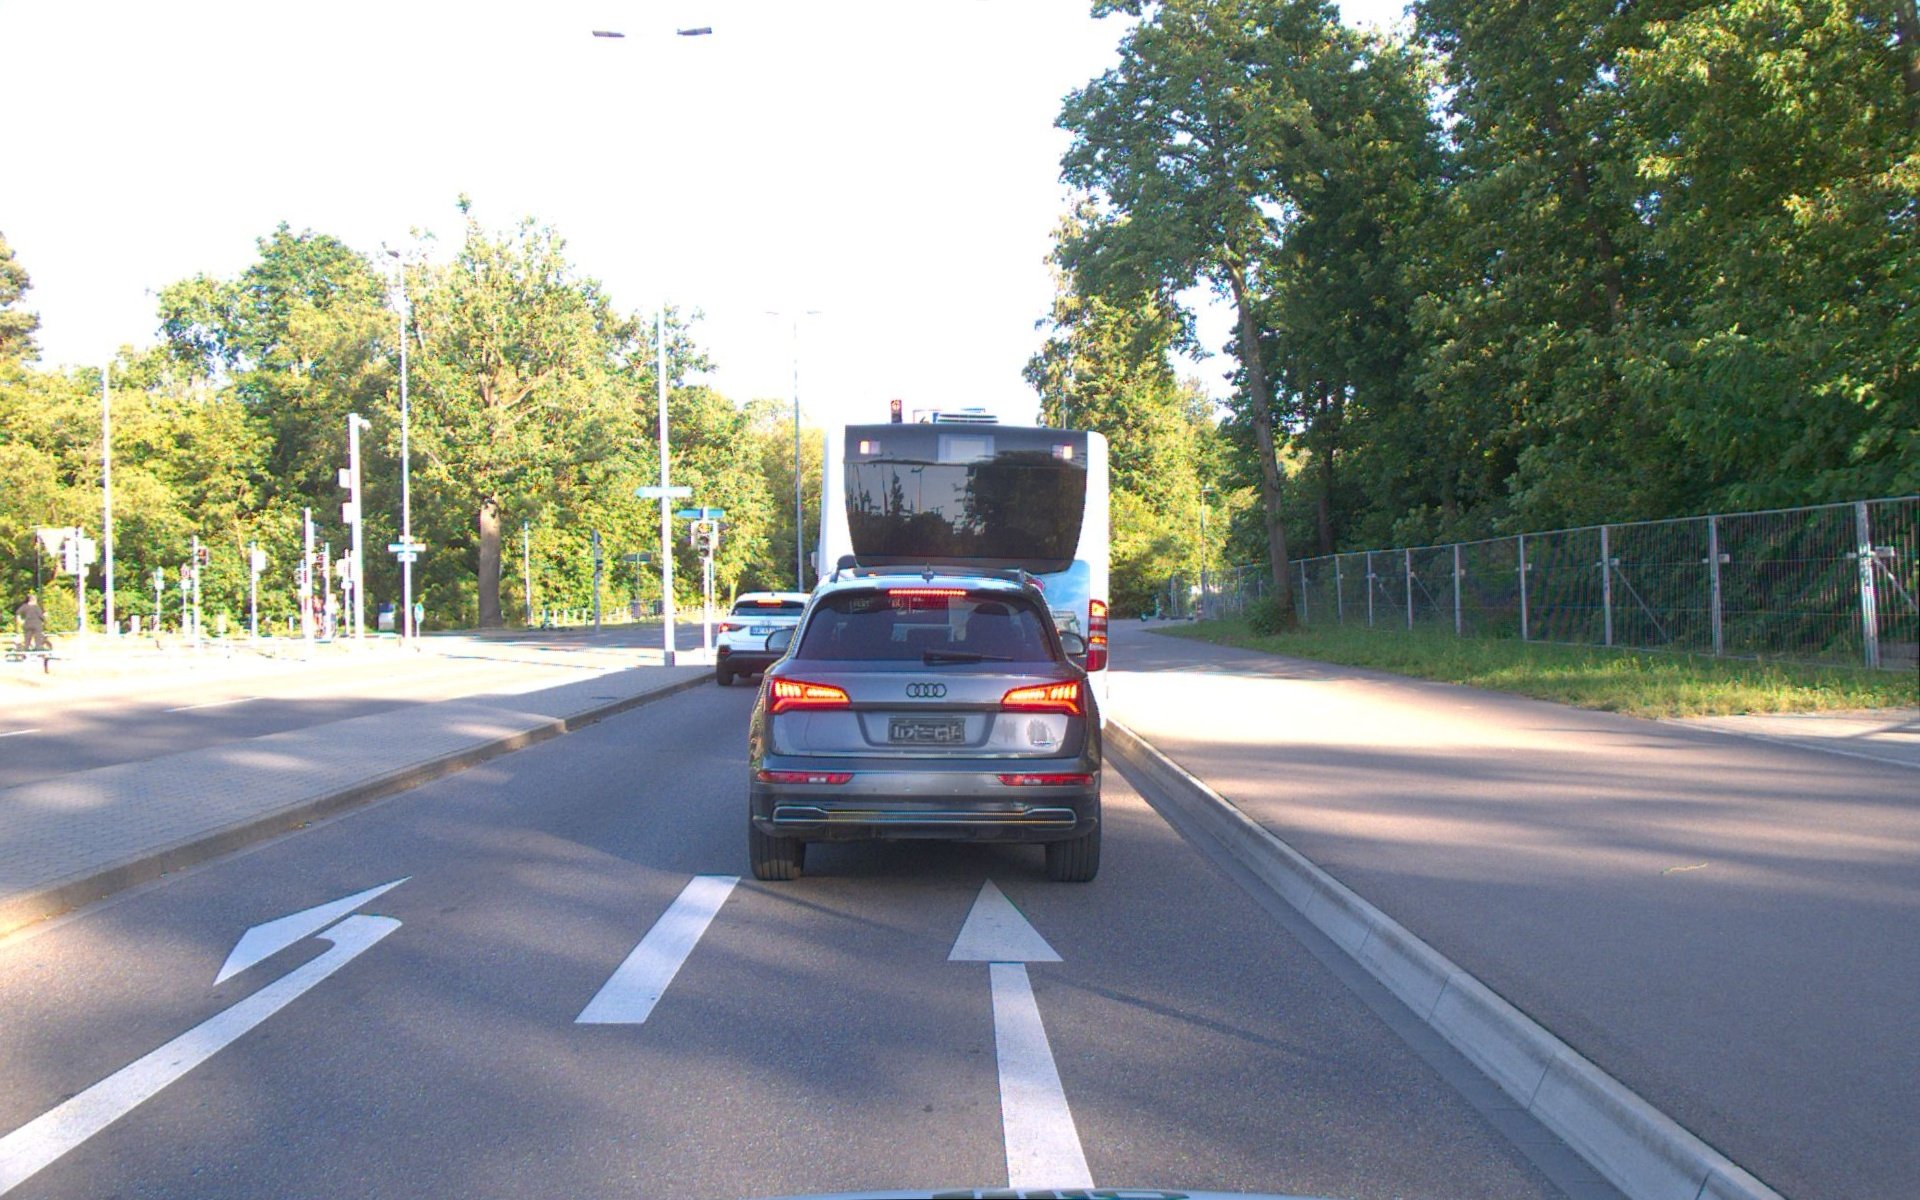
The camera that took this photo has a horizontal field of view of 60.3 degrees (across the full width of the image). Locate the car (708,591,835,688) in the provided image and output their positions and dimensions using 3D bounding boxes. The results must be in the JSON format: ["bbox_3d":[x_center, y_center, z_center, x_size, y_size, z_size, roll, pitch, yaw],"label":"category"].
[{"bbox_3d":[-3.217,0.632,28.859,1.799,1.545,3.999,-1,0,-1],"label":"car"}]

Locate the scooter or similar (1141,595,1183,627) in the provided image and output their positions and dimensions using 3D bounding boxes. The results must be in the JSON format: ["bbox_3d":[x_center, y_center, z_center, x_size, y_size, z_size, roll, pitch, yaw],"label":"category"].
[{"bbox_3d":[9.709,0.537,79.570,1.991,1.469,0.601,-2,0,-26],"label":"scooter or similar"}]

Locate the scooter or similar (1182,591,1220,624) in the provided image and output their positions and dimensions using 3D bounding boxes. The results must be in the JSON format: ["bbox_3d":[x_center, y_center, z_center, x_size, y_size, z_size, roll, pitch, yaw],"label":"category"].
[{"bbox_3d":[11.778,0.372,80.895,0.535,1.594,1.993,-2,0,-40],"label":"scooter or similar"}]

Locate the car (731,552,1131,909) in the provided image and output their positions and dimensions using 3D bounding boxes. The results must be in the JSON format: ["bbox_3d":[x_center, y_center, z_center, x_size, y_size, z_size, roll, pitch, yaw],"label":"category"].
[{"bbox_3d":[-0.161,0.609,9.759,1.860,1.660,3.999,1,0,-1],"label":"car"}]

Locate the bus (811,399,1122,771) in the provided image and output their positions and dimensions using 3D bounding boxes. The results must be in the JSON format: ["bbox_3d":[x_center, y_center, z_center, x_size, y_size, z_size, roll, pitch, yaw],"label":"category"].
[{"bbox_3d":[-0.010,-0.090,18.263,2.542,3.041,9.324,0,0,-1],"label":"bus"}]

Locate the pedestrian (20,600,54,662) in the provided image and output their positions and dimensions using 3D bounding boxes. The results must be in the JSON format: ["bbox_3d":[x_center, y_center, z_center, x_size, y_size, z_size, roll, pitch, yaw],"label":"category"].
[{"bbox_3d":[-24.147,0.806,43.262,0.643,1.587,0.531,-1,0,-43],"label":"pedestrian"}]

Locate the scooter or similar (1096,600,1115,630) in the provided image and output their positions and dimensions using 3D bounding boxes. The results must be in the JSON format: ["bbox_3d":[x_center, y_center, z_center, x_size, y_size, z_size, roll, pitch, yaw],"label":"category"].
[{"bbox_3d":[7.224,0.722,82.189,0.498,1.469,2.020,-2,0,-6],"label":"scooter or similar"}]
